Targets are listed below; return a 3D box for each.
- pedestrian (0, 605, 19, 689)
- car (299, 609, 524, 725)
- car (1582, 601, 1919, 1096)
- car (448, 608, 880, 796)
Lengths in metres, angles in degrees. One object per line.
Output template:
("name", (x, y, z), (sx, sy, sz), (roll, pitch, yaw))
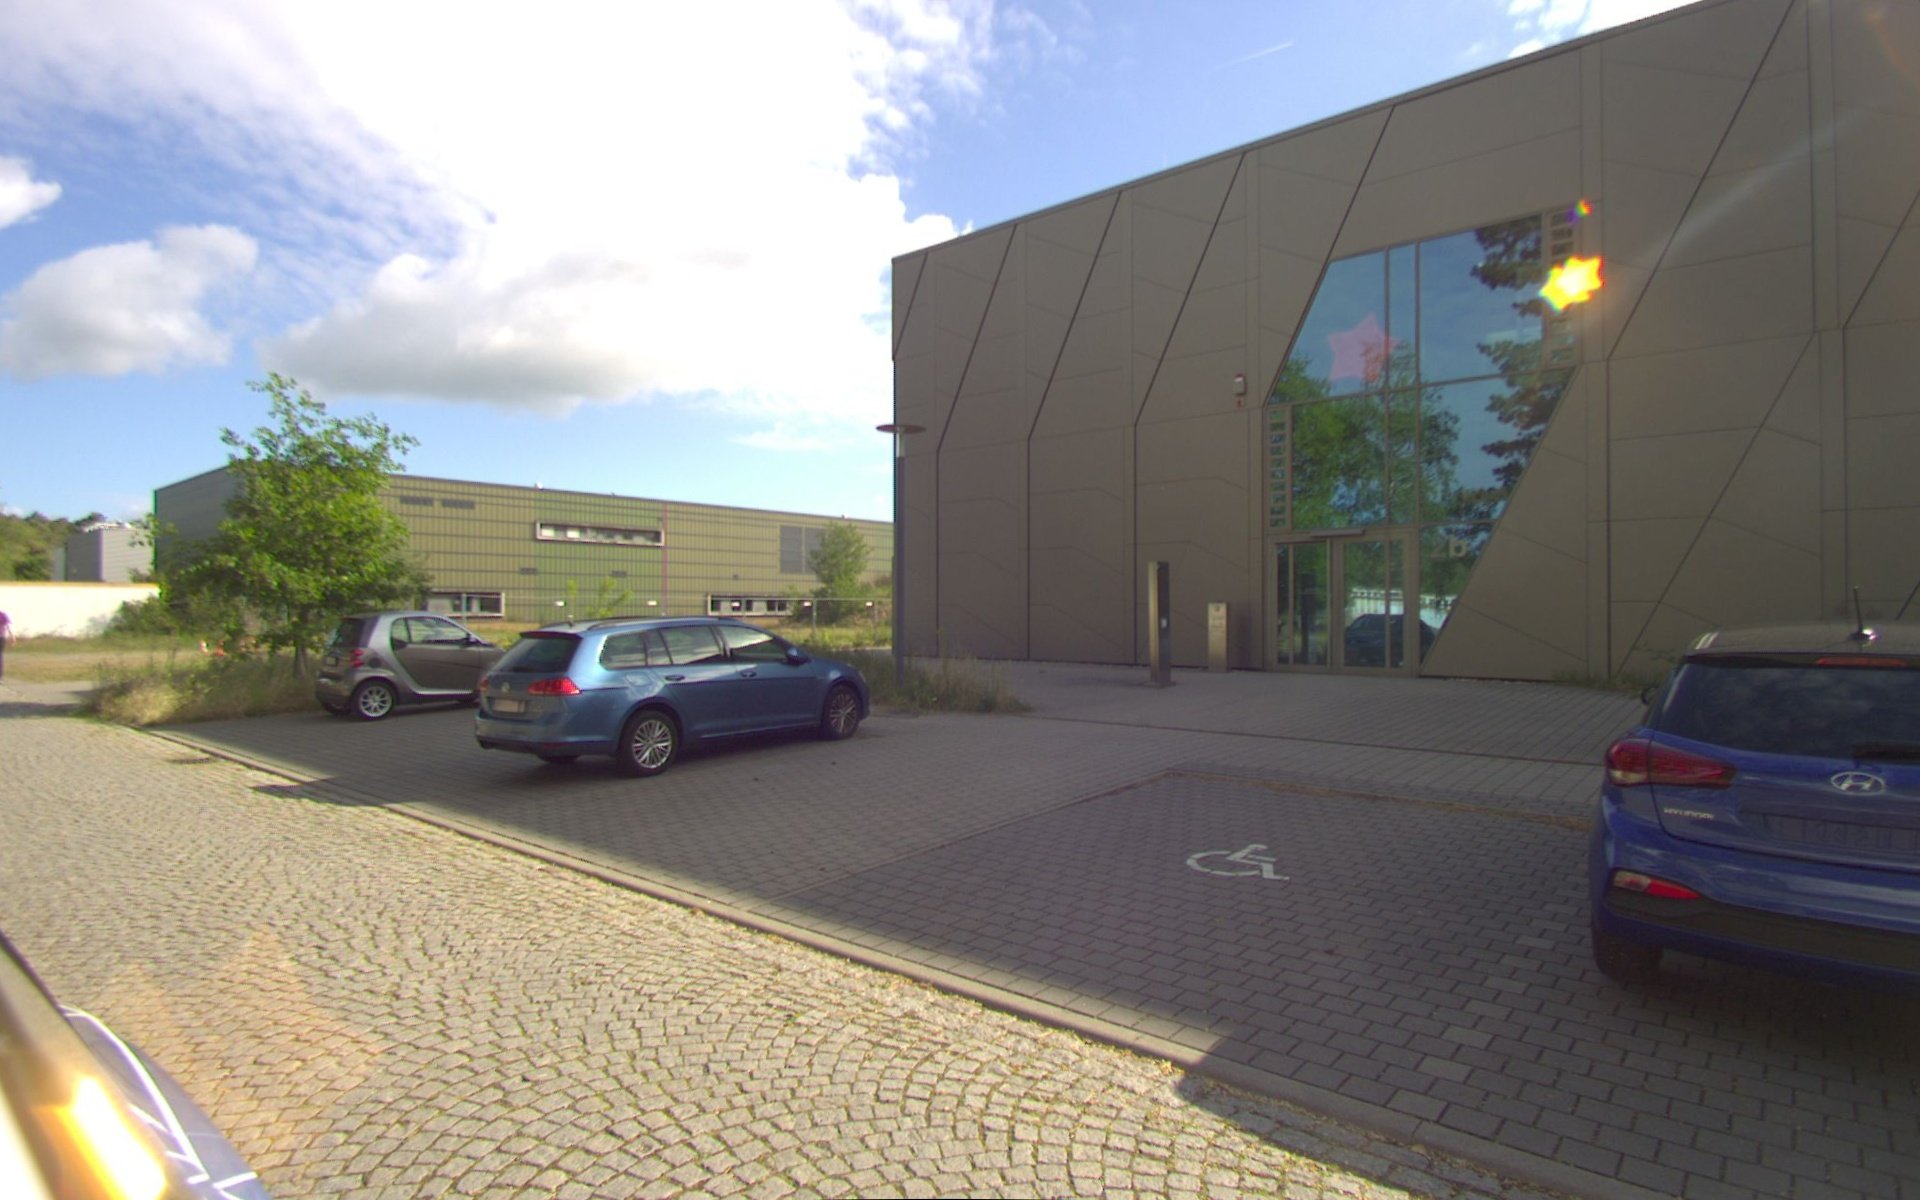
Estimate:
("pedestrian", (-20.969, 1.014, 21.806), (1.151, 1.785, 0.797), (-1, -1, 36))
("car", (-8.410, 0.952, 15.631), (1.517, 1.554, 2.672), (-1, 1, 39))
("car", (4.250, 0.781, 4.594), (1.720, 1.475, 3.794), (-1, 1, 43))
("car", (-2.890, 0.889, 10.735), (1.678, 1.475, 4.216), (-1, 0, 38))
